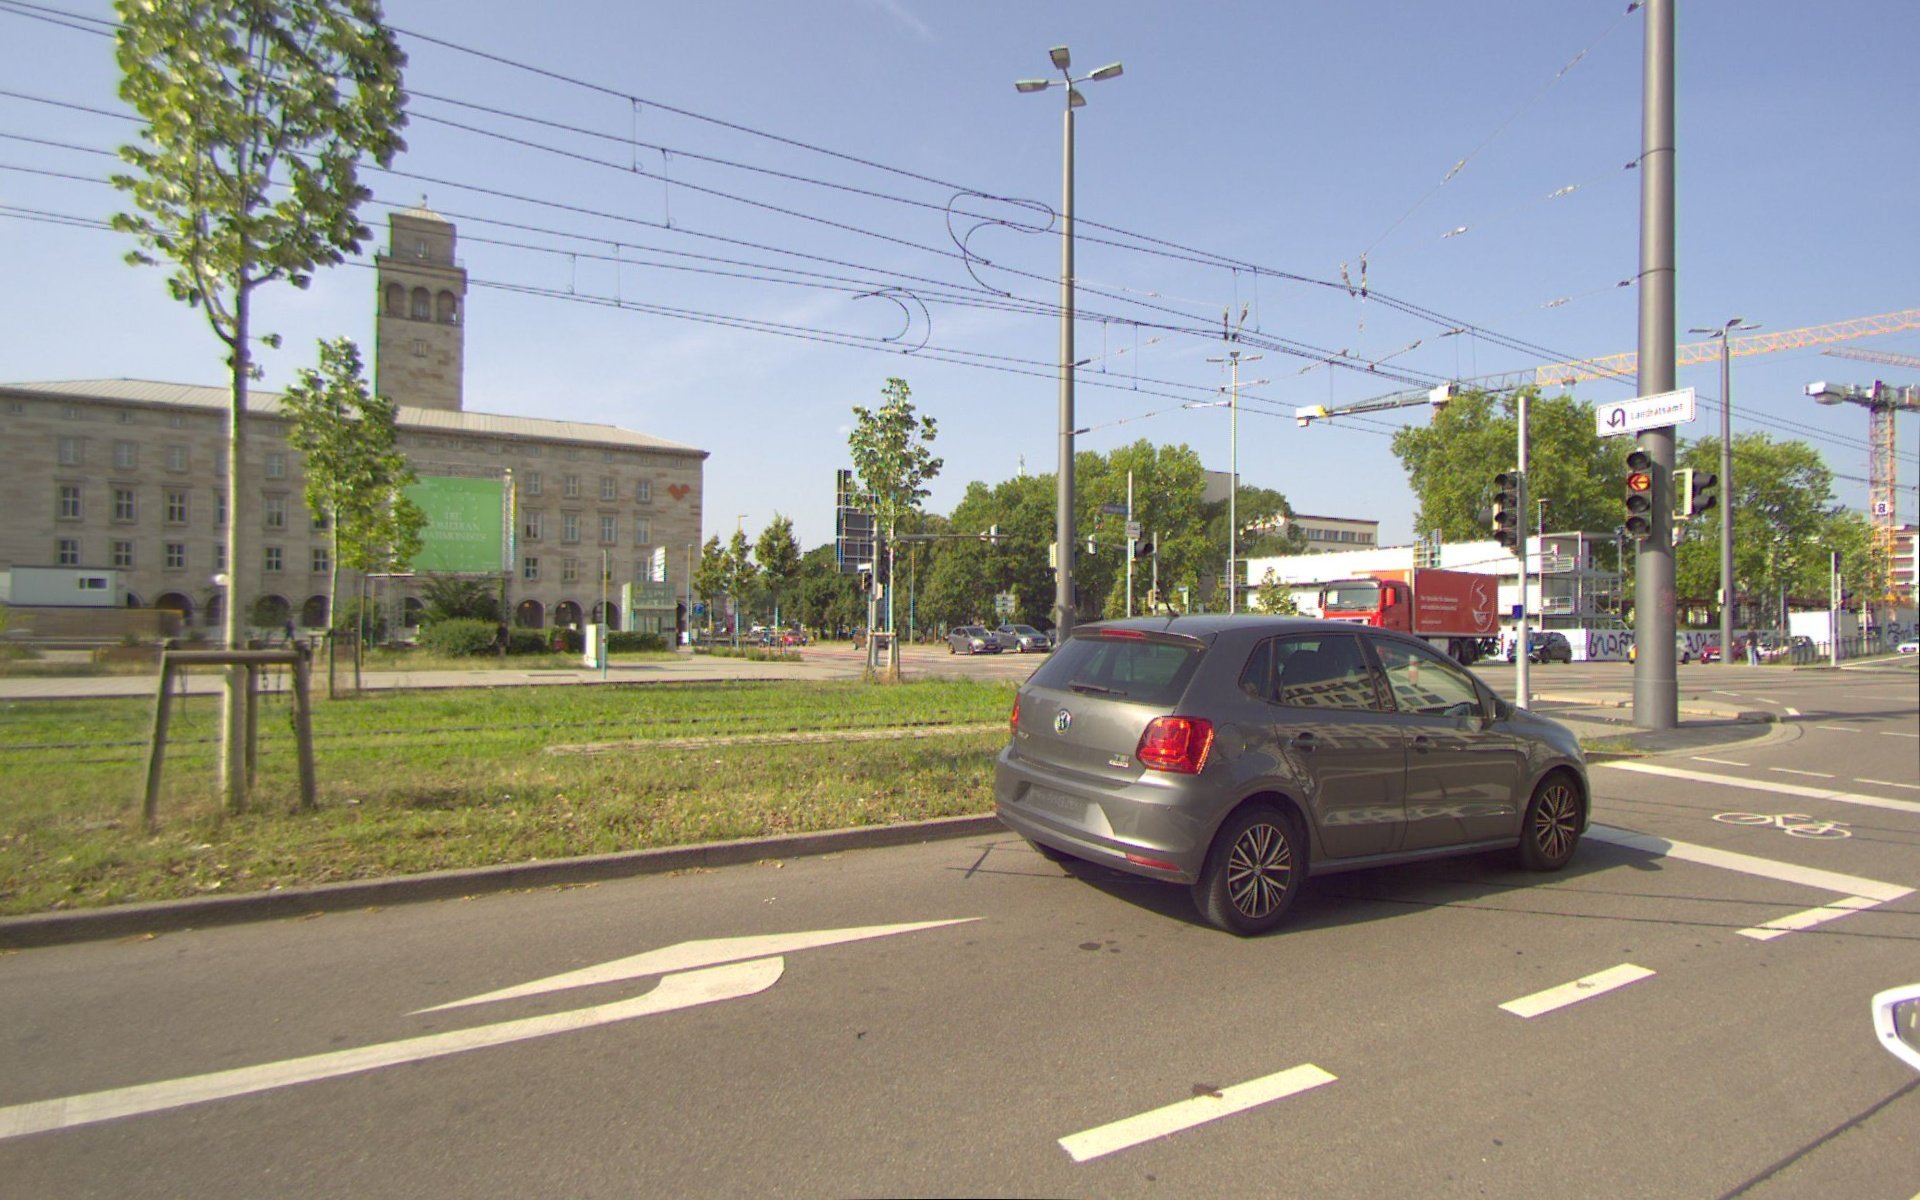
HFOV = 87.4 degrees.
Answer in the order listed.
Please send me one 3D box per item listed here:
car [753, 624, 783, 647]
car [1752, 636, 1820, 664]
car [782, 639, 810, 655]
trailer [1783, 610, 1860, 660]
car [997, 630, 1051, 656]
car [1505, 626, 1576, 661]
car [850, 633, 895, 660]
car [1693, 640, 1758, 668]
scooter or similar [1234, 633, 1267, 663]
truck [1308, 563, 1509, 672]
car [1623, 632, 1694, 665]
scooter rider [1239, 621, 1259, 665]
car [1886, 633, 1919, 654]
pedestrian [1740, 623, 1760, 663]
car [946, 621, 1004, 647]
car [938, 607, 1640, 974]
[{"bbox_3d":[-17.380,3.170,90.591,1.970,2.040,3.981,1,-2,-21],"label":"car"},{"bbox_3d":[46.437,2.802,56.450,4.354,1.489,1.634,1,-2,-32],"label":"car"},{"bbox_3d":[-16.437,4.669,100.490,1.808,1.526,3.996,1,-2,-23],"label":"car"},{"bbox_3d":[51.476,2.083,60.012,4.964,2.818,2.034,2,0,-31],"label":"trailer"},{"bbox_3d":[3.685,2.447,58.238,1.551,1.439,3.315,1,-2,-31],"label":"car"},{"bbox_3d":[28.241,2.077,48.829,3.964,1.622,1.627,2,-2,-38],"label":"car"},{"bbox_3d":[-6.417,3.341,73.139,1.973,1.855,3.975,1,-2,-26],"label":"car"},{"bbox_3d":[40.947,2.856,53.692,3.660,1.379,1.710,2,-1,-34],"label":"car"},{"bbox_3d":[11.533,1.911,39.889,1.370,1.162,0.535,1,-1,-36],"label":"scooter or similar"},{"bbox_3d":[18.062,0.745,39.981,10.333,3.859,2.948,2,-2,-39],"label":"truck"},{"bbox_3d":[39.578,2.714,56.910,4.466,1.812,1.608,1,-2,-30],"label":"car"},{"bbox_3d":[11.466,1.715,39.830,0.544,1.720,0.533,1,-1,-35],"label":"scooter rider"},{"bbox_3d":[76.383,3.496,80.520,4.560,1.602,1.784,2,-2,-29],"label":"car"},{"bbox_3d":[34.001,1.861,43.240,0.629,1.698,0.370,1,-1,-14],"label":"pedestrian"},{"bbox_3d":[0.828,1.928,57.485,1.690,1.398,3.624,1,-2,-31],"label":"car"},{"bbox_3d":[1.957,0.812,5.774,3.823,1.452,1.696,1,1,-29],"label":"car"}]
